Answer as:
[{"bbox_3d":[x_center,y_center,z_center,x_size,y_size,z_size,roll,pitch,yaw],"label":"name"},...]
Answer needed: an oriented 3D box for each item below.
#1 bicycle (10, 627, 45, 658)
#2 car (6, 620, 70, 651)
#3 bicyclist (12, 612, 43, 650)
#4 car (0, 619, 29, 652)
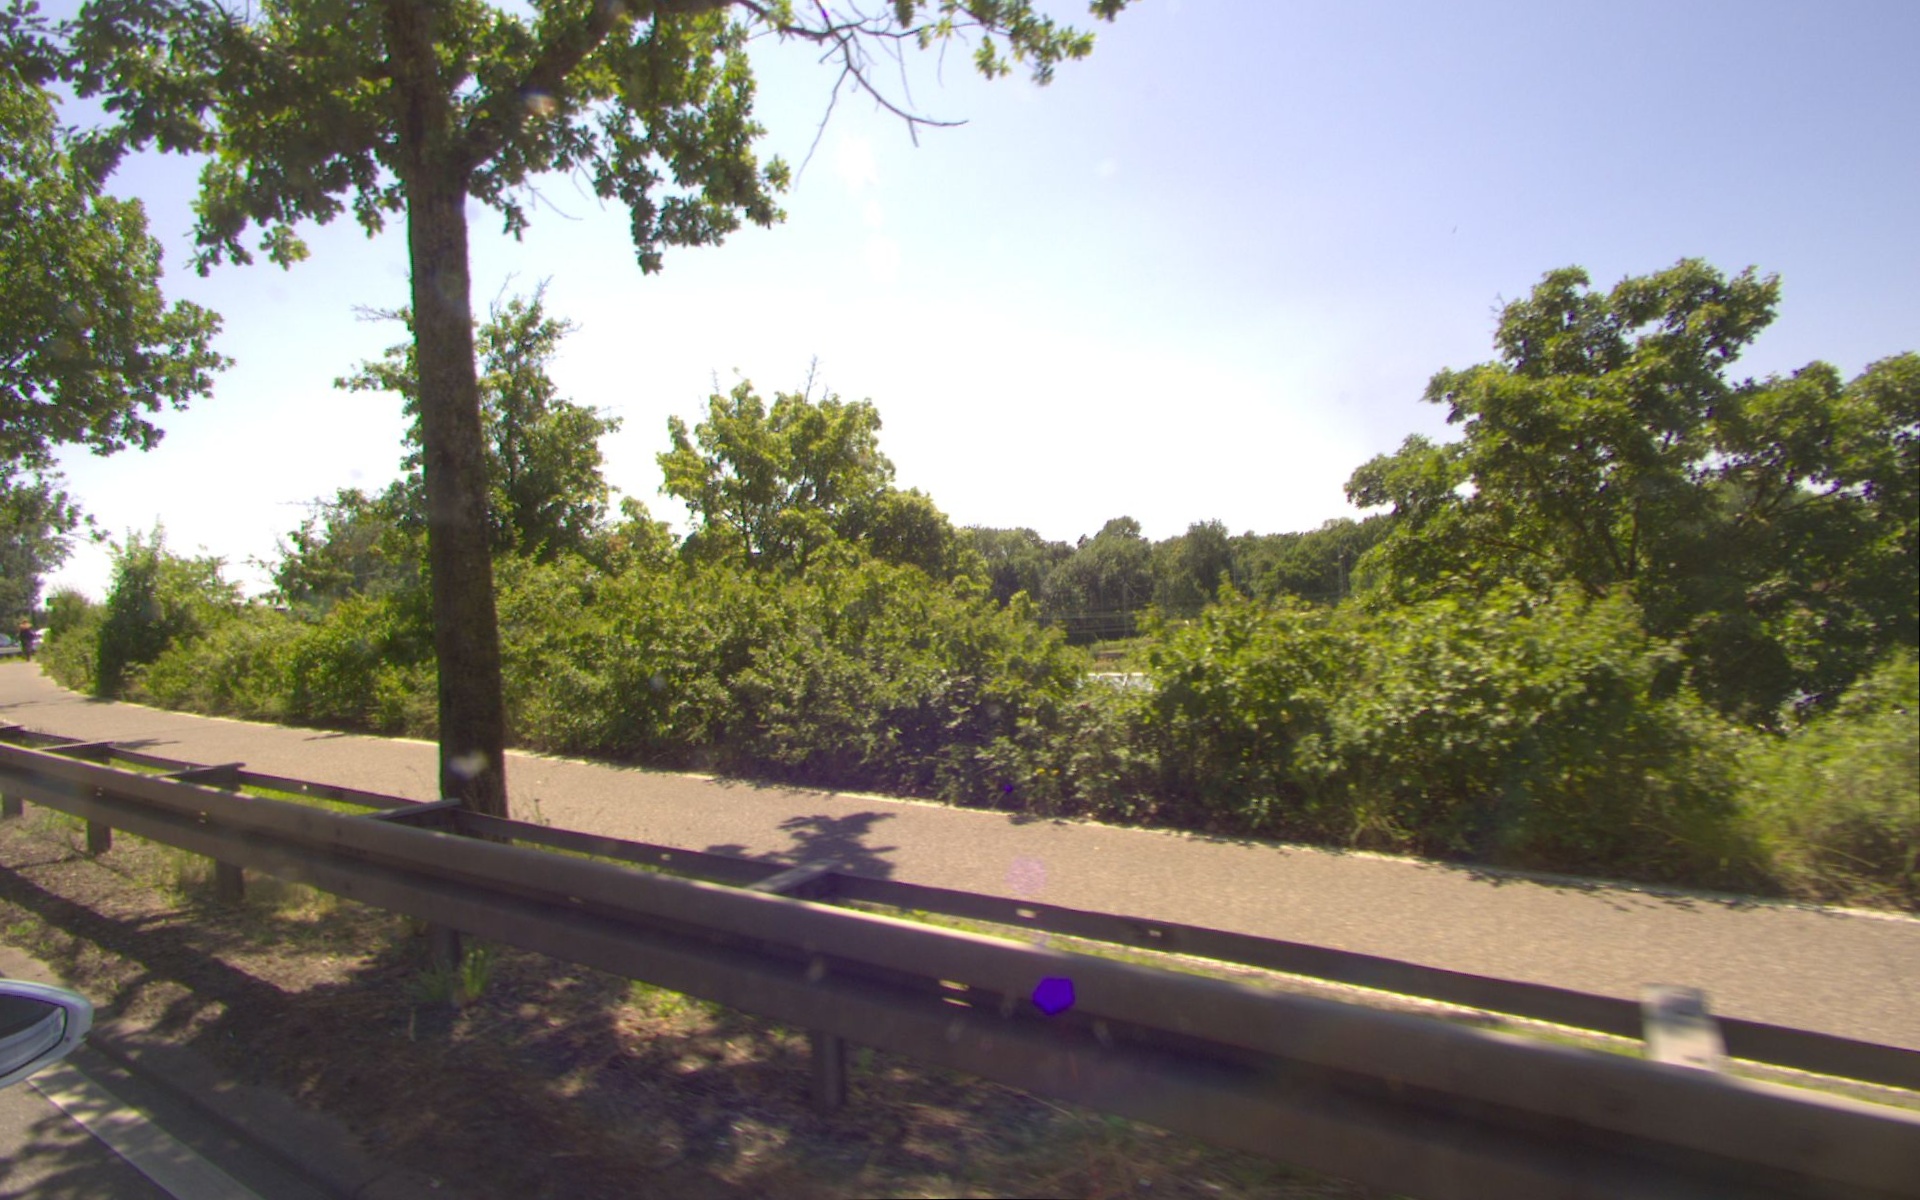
[{"bbox_3d":[-39.136,1.761,42.033,0.853,1.252,2.293,0,-2,-37],"label":"bicycle"},{"bbox_3d":[-54.864,2.104,59.663,1.973,1.790,4.728,0,-2,-32],"label":"car"},{"bbox_3d":[-39.095,1.306,41.989,0.853,1.543,0.972,0,-1,-39],"label":"bicyclist"},{"bbox_3d":[-51.493,1.894,53.379,1.974,1.739,4.838,0,-2,-34],"label":"car"}]
